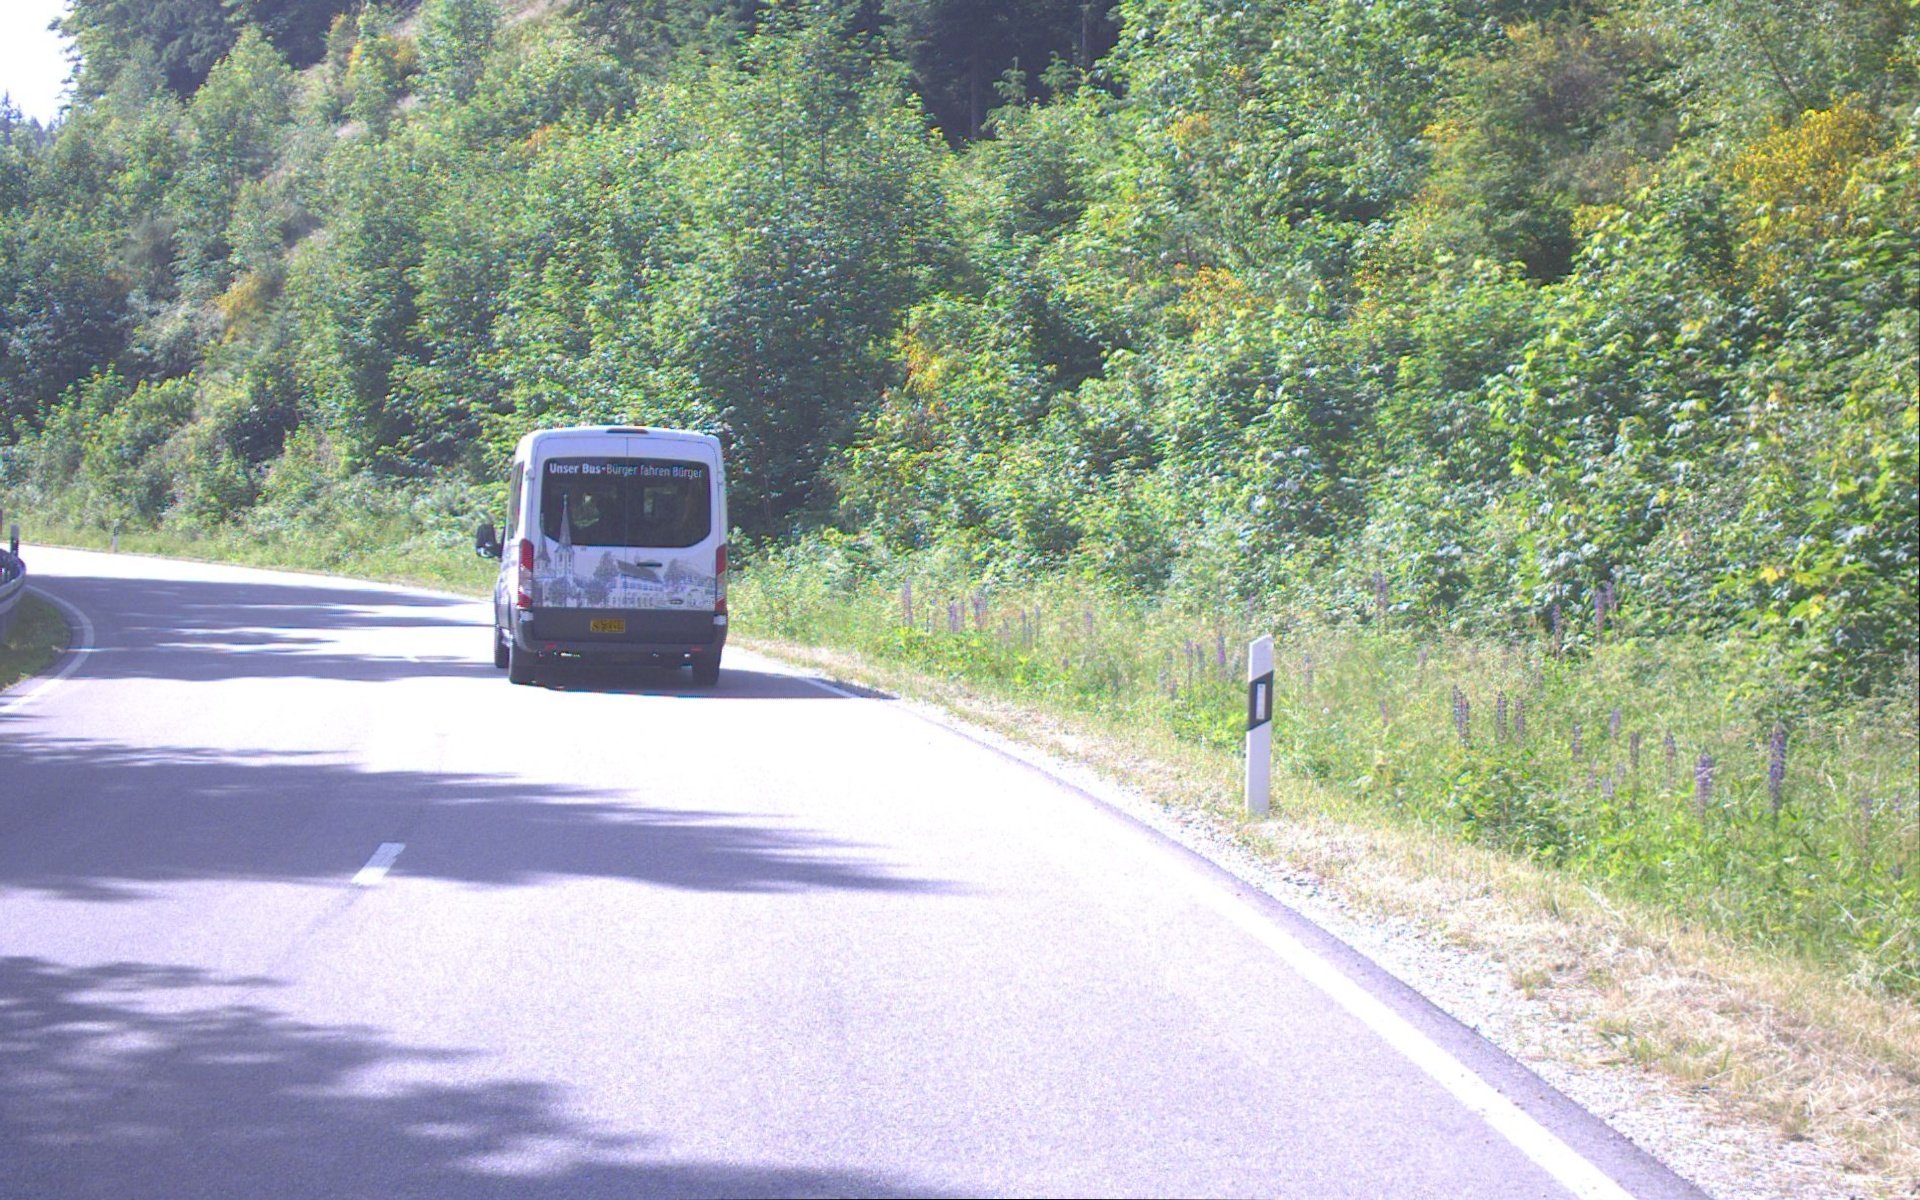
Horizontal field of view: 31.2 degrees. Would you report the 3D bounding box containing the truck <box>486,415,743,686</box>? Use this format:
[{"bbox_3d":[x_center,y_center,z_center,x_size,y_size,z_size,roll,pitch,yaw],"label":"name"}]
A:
[{"bbox_3d":[-3.545,-0.526,34.349,2.115,2.489,5.361,0,1,-11],"label":"truck"}]
